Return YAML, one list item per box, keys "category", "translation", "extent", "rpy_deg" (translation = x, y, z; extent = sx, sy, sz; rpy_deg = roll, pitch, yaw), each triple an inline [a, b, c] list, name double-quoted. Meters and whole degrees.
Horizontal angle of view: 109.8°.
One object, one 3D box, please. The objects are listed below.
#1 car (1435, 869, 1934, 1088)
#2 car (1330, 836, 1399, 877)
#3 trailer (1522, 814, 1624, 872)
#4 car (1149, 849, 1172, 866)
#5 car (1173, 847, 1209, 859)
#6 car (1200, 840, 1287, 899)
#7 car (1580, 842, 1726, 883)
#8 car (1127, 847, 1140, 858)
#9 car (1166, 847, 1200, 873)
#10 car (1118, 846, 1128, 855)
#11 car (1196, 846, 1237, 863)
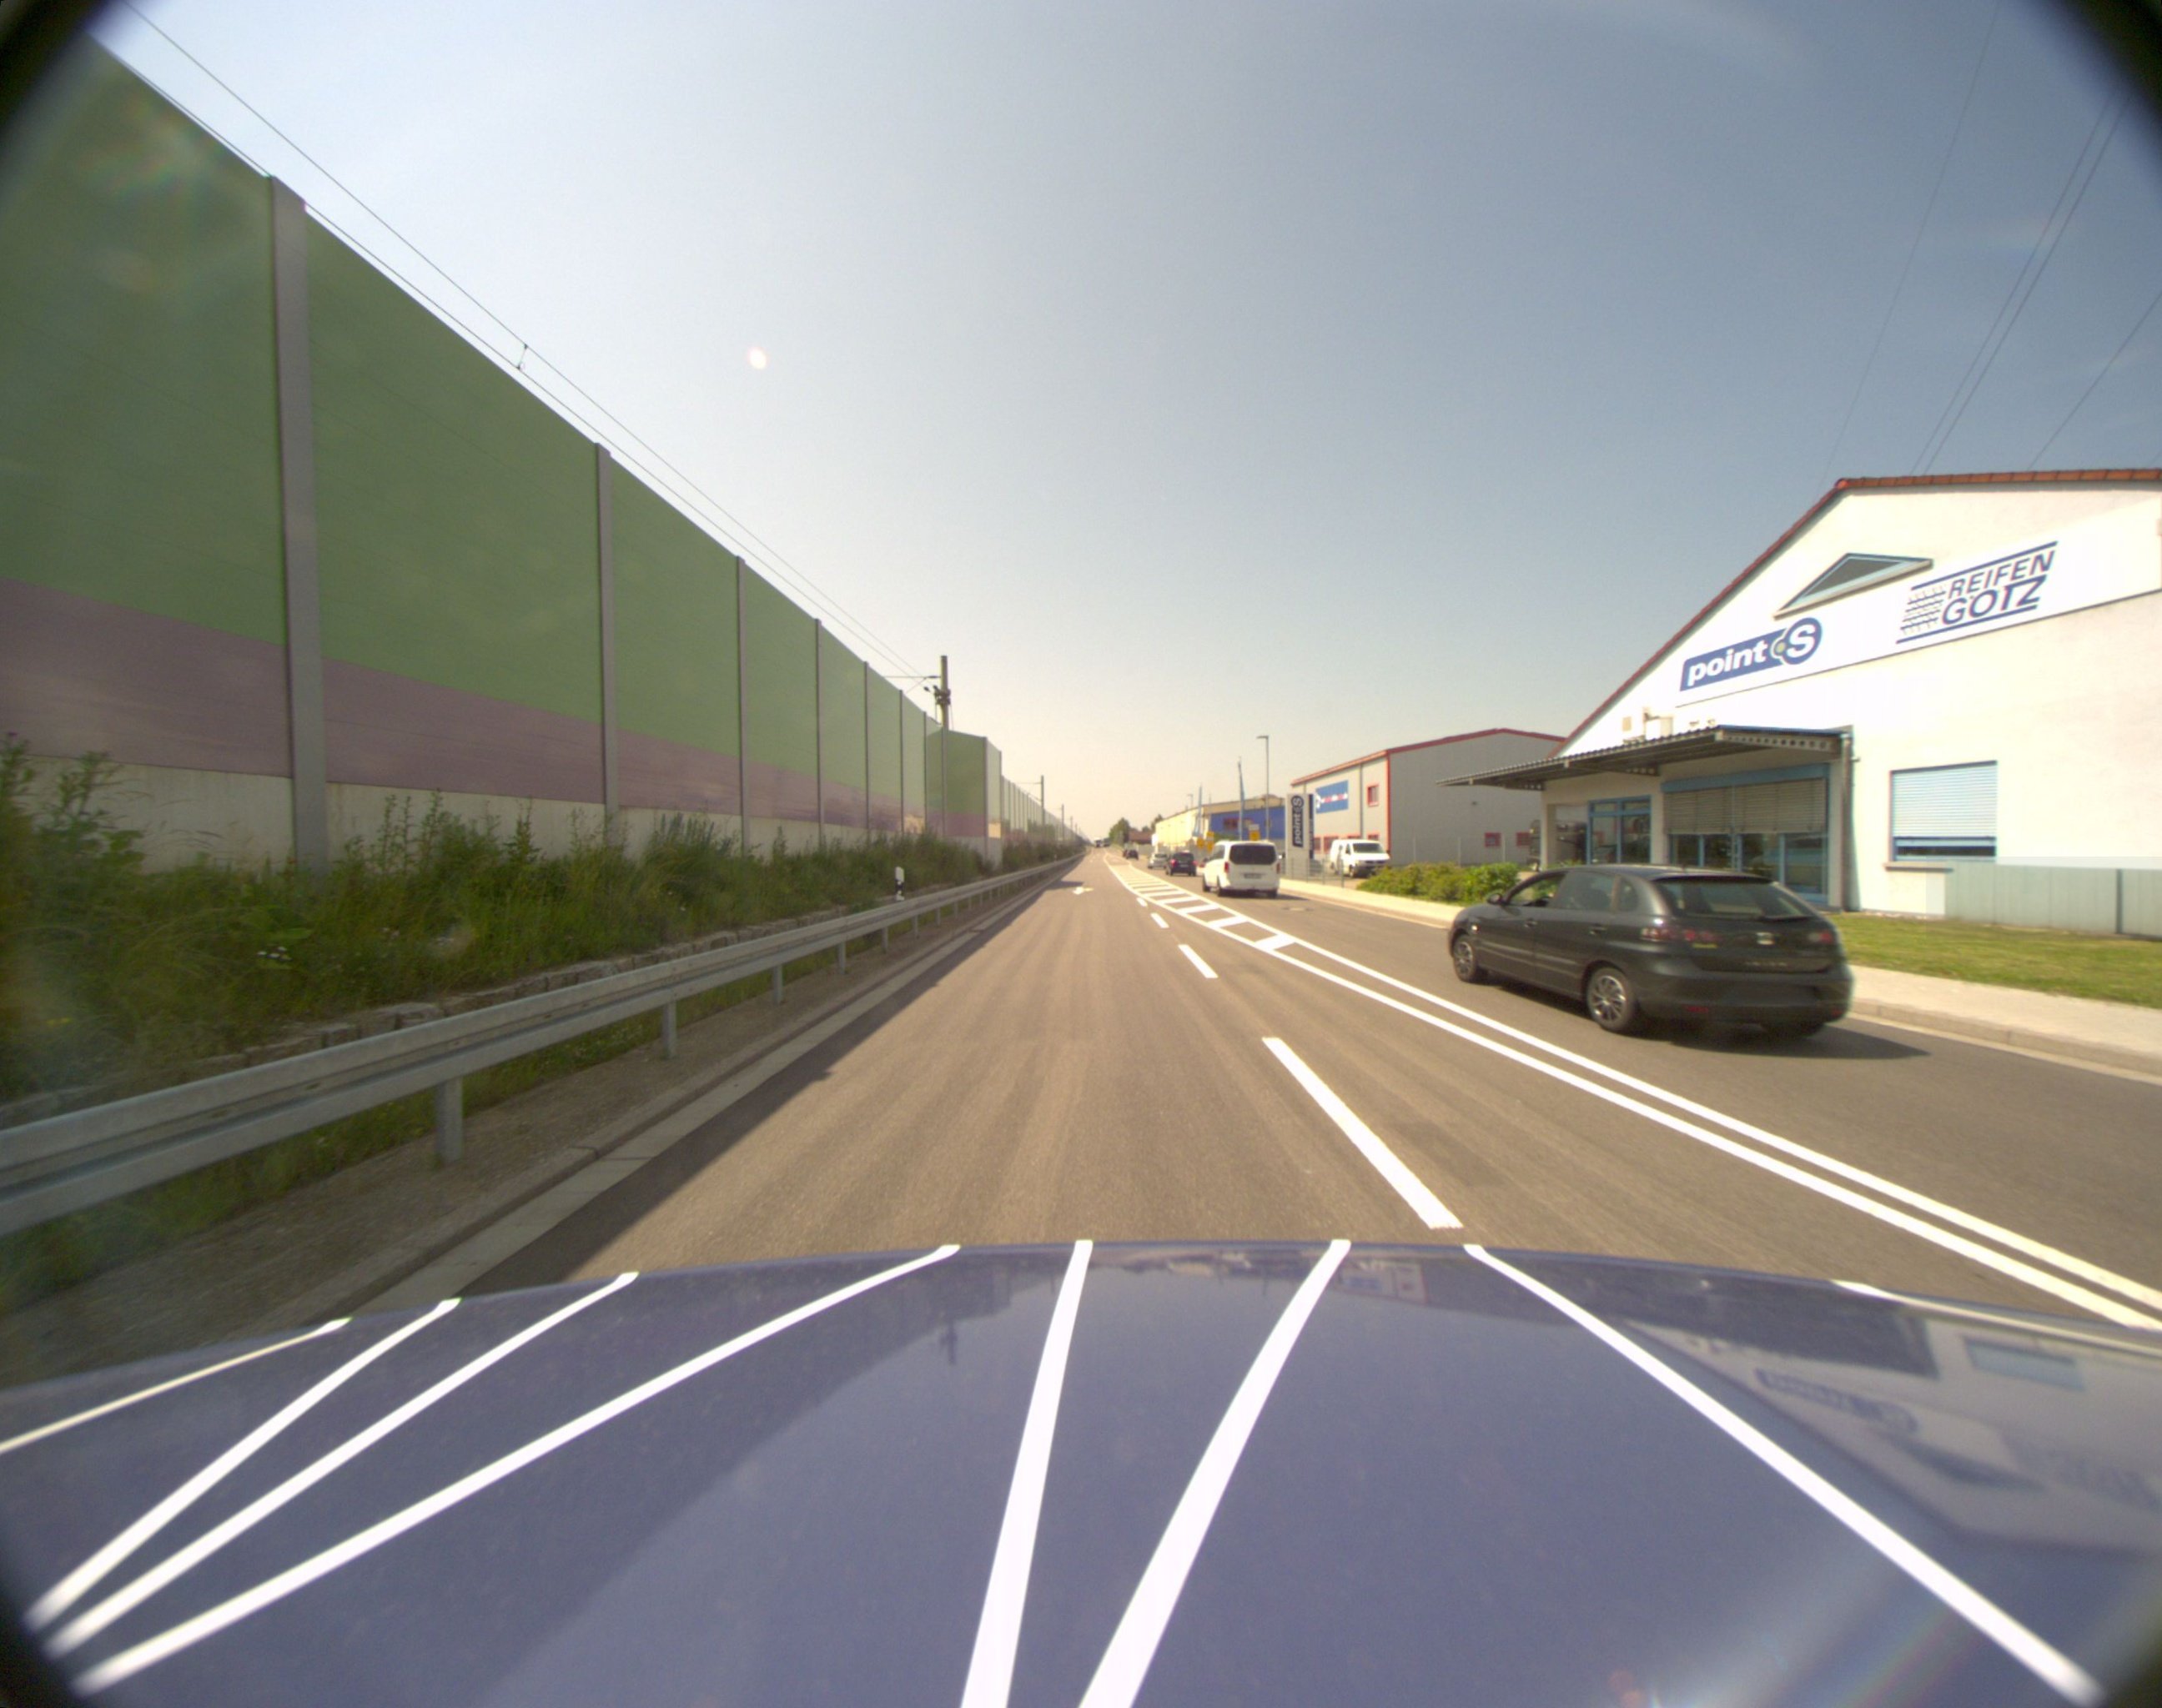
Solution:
- category: "car"
  translation: [5.196, 0.922, 7.381]
  extent: [1.675, 1.415, 4.000]
  rpy_deg: [1, 1, 1]
- category: "car"
  translation: [14.663, 0.062, 39.648]
  extent: [1.998, 2.002, 4.680]
  rpy_deg: [0, 1, 2]
- category: "trailer"
  translation: [26.120, -0.618, 40.570]
  extent: [2.167, 2.832, 5.123]
  rpy_deg: [-2, 1, 1]
- category: "car"
  translation: [7.045, 0.261, 67.497]
  extent: [1.768, 1.457, 4.259]
  rpy_deg: [1, 0, 2]
- category: "car"
  translation: [13.940, -0.115, 96.137]
  extent: [4.152, 1.493, 1.778]
  rpy_deg: [-1, 0, 22]
- category: "car"
  translation: [5.573, 0.455, 26.777]
  extent: [1.998, 1.863, 5.168]
  rpy_deg: [0, 1, 0]
- category: "car"
  translation: [21.176, 0.316, 28.245]
  extent: [3.995, 1.477, 1.785]
  rpy_deg: [0, 0, 4]
- category: "car"
  translation: [8.285, -0.257, 120.411]
  extent: [1.885, 1.607, 4.523]
  rpy_deg: [2, 1, 3]
- category: "car"
  translation: [6.503, 0.367, 48.890]
  extent: [1.672, 1.591, 3.972]
  rpy_deg: [1, 1, 1]
- category: "car"
  translation: [7.932, -0.638, 143.513]
  extent: [1.746, 1.584, 3.796]
  rpy_deg: [1, 1, 1]
- category: "car"
  translation: [12.721, 0.034, 71.309]
  extent: [3.491, 1.456, 1.587]
  rpy_deg: [-1, 1, -24]
